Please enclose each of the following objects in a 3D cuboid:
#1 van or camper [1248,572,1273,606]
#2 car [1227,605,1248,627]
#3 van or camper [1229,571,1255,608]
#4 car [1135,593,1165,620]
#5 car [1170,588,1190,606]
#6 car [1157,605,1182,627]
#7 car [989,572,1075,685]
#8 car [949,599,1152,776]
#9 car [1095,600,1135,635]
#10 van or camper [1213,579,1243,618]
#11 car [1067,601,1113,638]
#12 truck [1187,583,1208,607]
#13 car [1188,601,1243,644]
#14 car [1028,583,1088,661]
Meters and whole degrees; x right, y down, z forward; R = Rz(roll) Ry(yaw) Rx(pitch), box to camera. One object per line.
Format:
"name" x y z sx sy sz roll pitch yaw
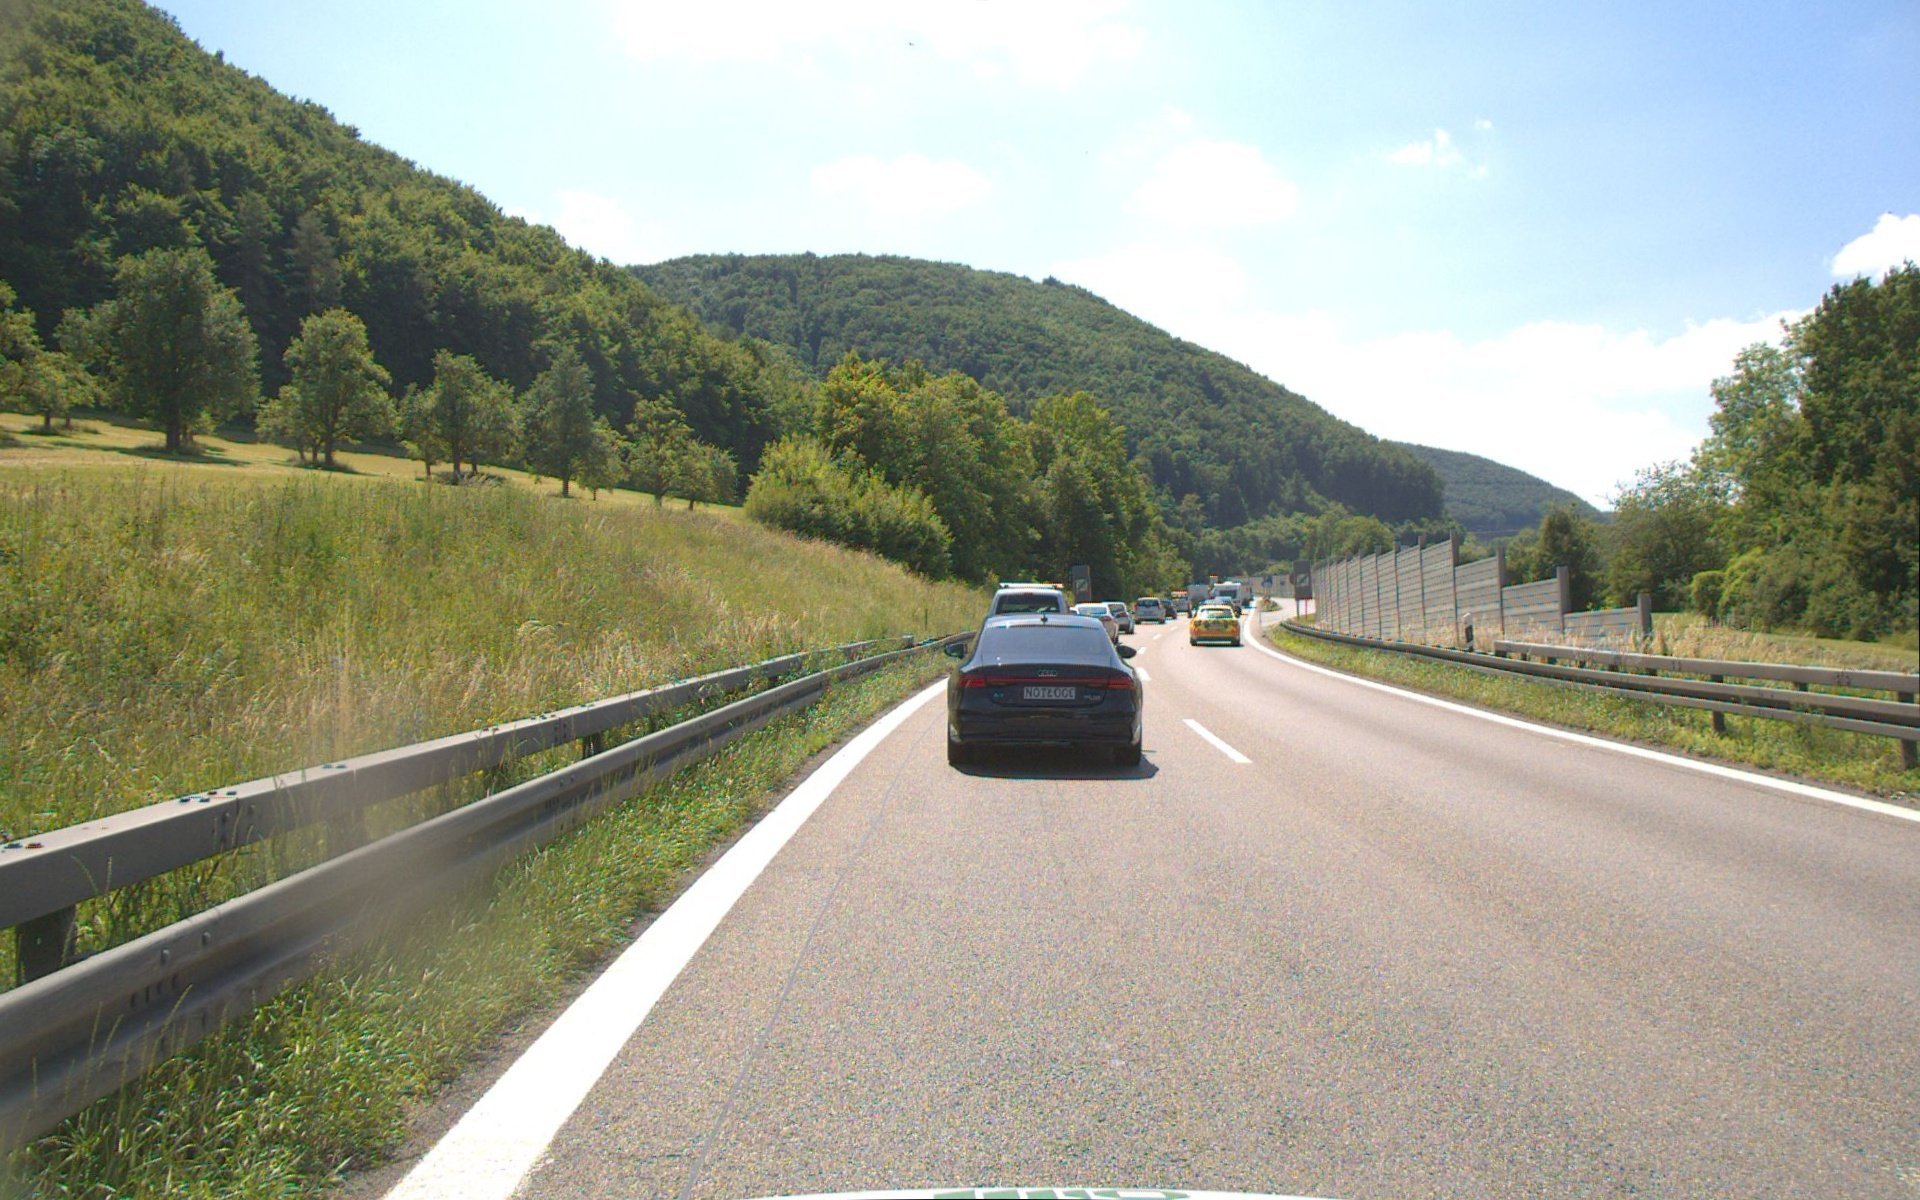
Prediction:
"van or camper" 35.842 -1.320 197.498 2.735 3.909 6.172 1 -1 9
"car" 20.916 1.228 124.517 1.456 1.598 3.003 1 0 11
"van or camper" 31.491 -1.118 184.785 2.735 3.975 6.172 1 -1 9
"car" 11.936 0.409 103.729 1.488 1.580 3.517 2 0 12
"car" 19.578 -0.271 146.918 1.488 1.580 3.517 2 0 12
"car" 15.722 1.163 124.051 1.489 1.580 3.517 2 0 13
"car" 1.418 0.515 31.700 1.489 2.002 3.516 2 0 4
"car" 0.892 0.767 16.388 1.774 1.541 3.516 1 0 3
"car" 7.327 0.801 77.946 1.488 1.580 3.517 2 0 11
"van or camper" 22.866 -0.093 141.221 2.377 3.210 5.208 1 -1 10
"car" 4.867 0.703 61.643 1.488 1.317 3.517 1 0 8
"truck" 26.991 -0.545 187.829 2.020 2.651 5.618 2 0 12
"car" 9.499 0.822 61.298 1.839 1.525 4.003 -1 0 11
"car" 2.618 0.574 43.796 1.507 1.959 3.480 1 0 4
